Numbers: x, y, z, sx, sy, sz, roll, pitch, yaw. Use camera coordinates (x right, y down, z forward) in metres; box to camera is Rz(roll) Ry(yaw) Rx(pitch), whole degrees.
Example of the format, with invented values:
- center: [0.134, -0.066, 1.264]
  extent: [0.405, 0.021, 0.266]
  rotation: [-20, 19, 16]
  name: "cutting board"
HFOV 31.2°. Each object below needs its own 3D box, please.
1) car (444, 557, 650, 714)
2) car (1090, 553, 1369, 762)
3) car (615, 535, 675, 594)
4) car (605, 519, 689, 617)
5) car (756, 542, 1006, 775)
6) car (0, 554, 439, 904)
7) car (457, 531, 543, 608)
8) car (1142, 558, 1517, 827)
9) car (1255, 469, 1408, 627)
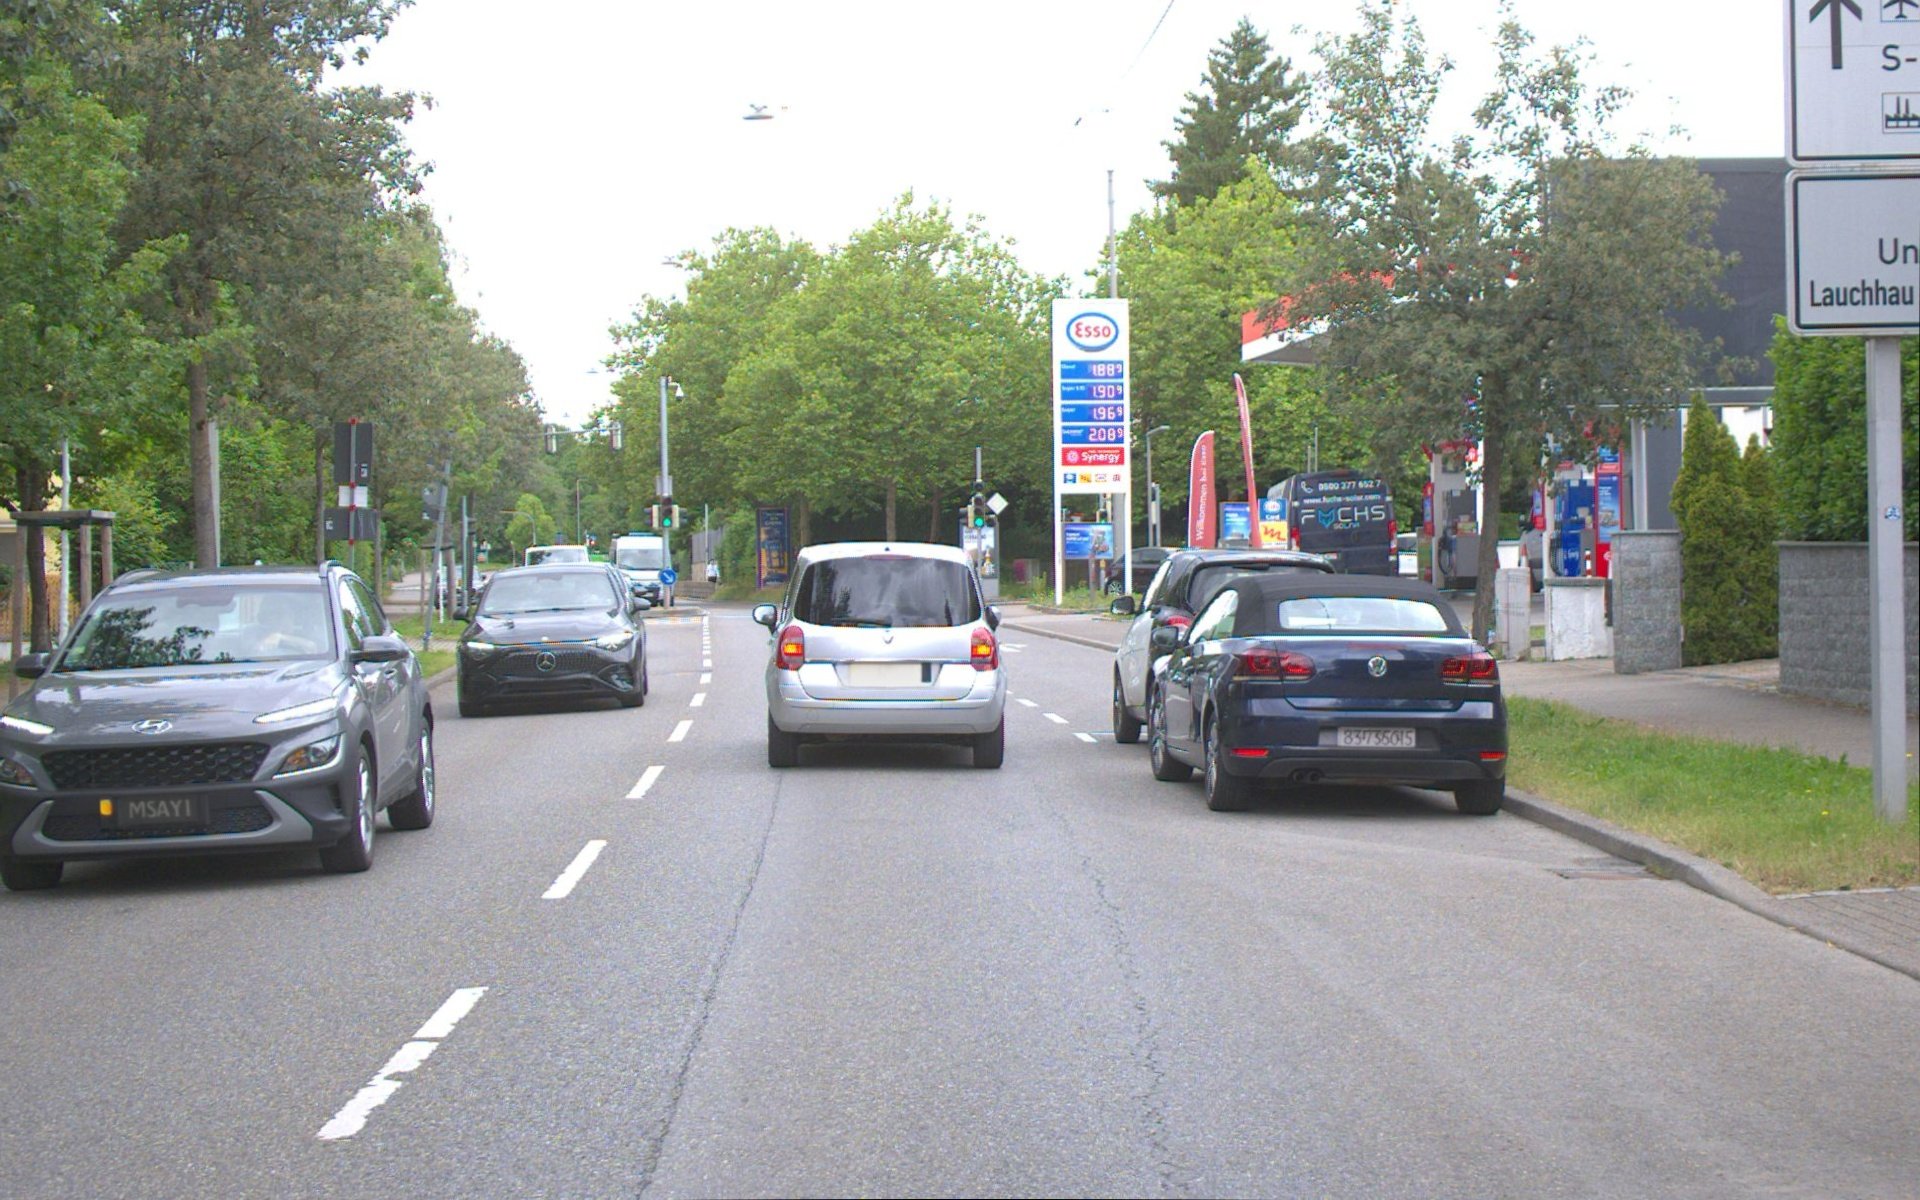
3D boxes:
- center: [-4.163, 0.323, 35.132]
  extent: [1.695, 1.501, 3.644]
  rotation: [0, 1, -1]
  name: "car"
- center: [2.033, 0.396, 26.868]
  extent: [1.695, 1.501, 3.645]
  rotation: [0, 1, -3]
  name: "car"
- center: [-10.874, -1.230, 118.771]
  extent: [1.740, 2.007, 4.000]
  rotation: [0, 1, -1]
  name: "car"
- center: [-7.870, -0.826, 86.720]
  extent: [1.934, 2.400, 4.001]
  rotation: [0, 1, -3]
  name: "car"
- center: [-0.597, 0.368, 24.990]
  extent: [1.679, 1.554, 3.512]
  rotation: [0, 1, -2]
  name: "car"
- center: [-3.890, 0.585, 18.041]
  extent: [1.793, 1.550, 3.672]
  rotation: [-3, 1, -2]
  name: "car"
- center: [-12.313, -0.823, 92.288]
  extent: [1.934, 2.007, 4.001]
  rotation: [0, 1, -3]
  name: "car"
- center: [2.202, 0.498, 21.456]
  extent: [1.695, 1.501, 3.973]
  rotation: [0, 1, -3]
  name: "car"
- center: [7.139, -1.005, 66.640]
  extent: [2.281, 2.901, 5.279]
  rotation: [1, 1, -1]
  name: "car"
